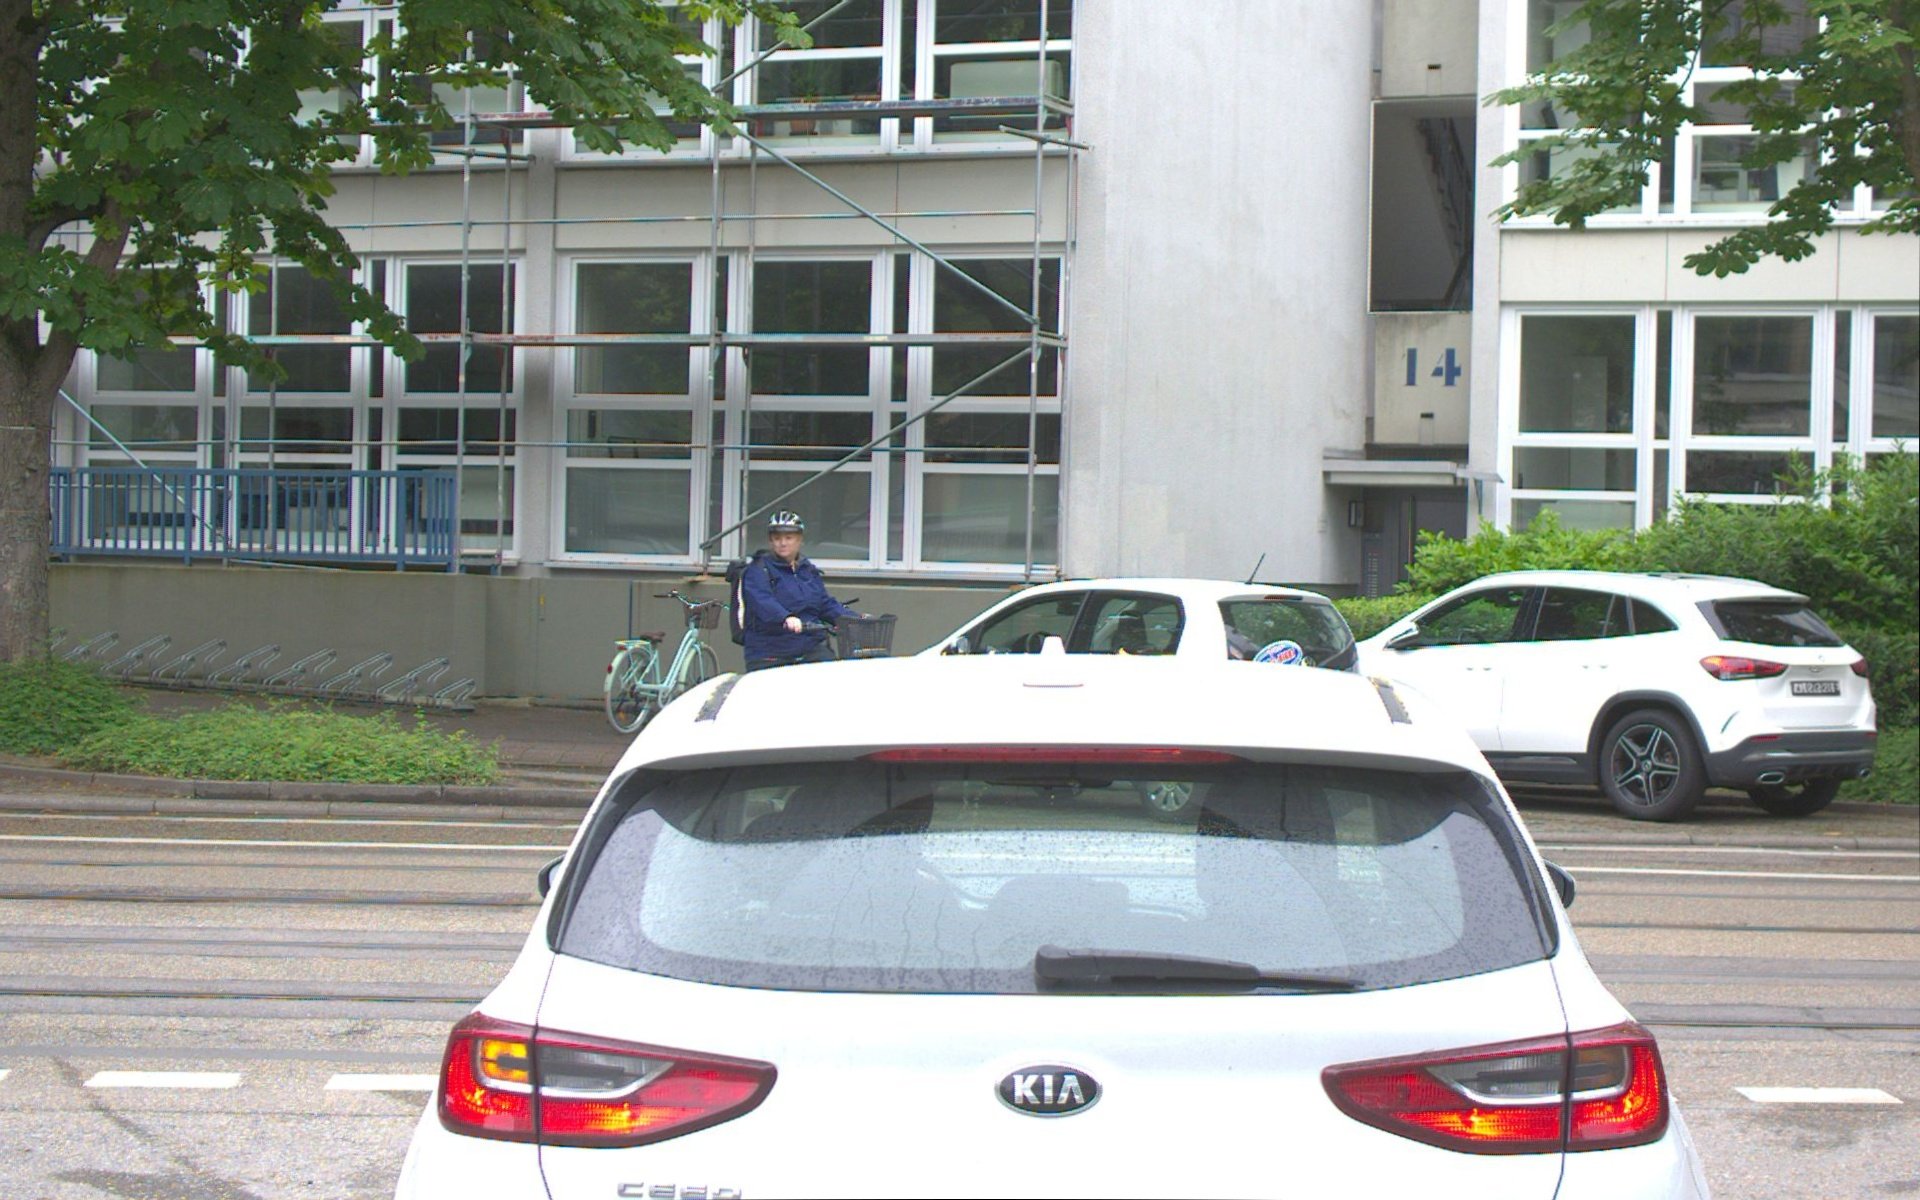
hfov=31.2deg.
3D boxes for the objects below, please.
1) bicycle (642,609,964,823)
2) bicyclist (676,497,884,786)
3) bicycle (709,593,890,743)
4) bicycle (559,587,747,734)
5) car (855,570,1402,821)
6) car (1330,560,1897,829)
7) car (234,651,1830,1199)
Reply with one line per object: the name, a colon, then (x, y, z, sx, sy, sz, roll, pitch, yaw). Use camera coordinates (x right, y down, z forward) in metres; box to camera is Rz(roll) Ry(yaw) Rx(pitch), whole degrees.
bicycle: (-0.961, 0.668, 20.662, 1.914, 1.170, 0.819, 2, 1, 44)
bicyclist: (-1.090, 0.236, 20.805, 0.896, 1.692, 0.832, 2, 1, 45)
bicycle: (-1.297, 0.538, 28.317, 0.645, 1.071, 2.310, 2, 3, 20)
bicycle: (-2.548, 0.480, 28.807, 0.645, 1.071, 2.310, 2, 3, 20)
car: (1.041, 0.564, 22.402, 1.552, 1.468, 3.406, 0, 1, -44)
car: (4.273, 0.567, 22.782, 1.552, 1.612, 3.406, 0, 1, -44)
car: (0.157, 0.821, 5.821, 1.775, 1.428, 3.978, 1, -1, 3)
